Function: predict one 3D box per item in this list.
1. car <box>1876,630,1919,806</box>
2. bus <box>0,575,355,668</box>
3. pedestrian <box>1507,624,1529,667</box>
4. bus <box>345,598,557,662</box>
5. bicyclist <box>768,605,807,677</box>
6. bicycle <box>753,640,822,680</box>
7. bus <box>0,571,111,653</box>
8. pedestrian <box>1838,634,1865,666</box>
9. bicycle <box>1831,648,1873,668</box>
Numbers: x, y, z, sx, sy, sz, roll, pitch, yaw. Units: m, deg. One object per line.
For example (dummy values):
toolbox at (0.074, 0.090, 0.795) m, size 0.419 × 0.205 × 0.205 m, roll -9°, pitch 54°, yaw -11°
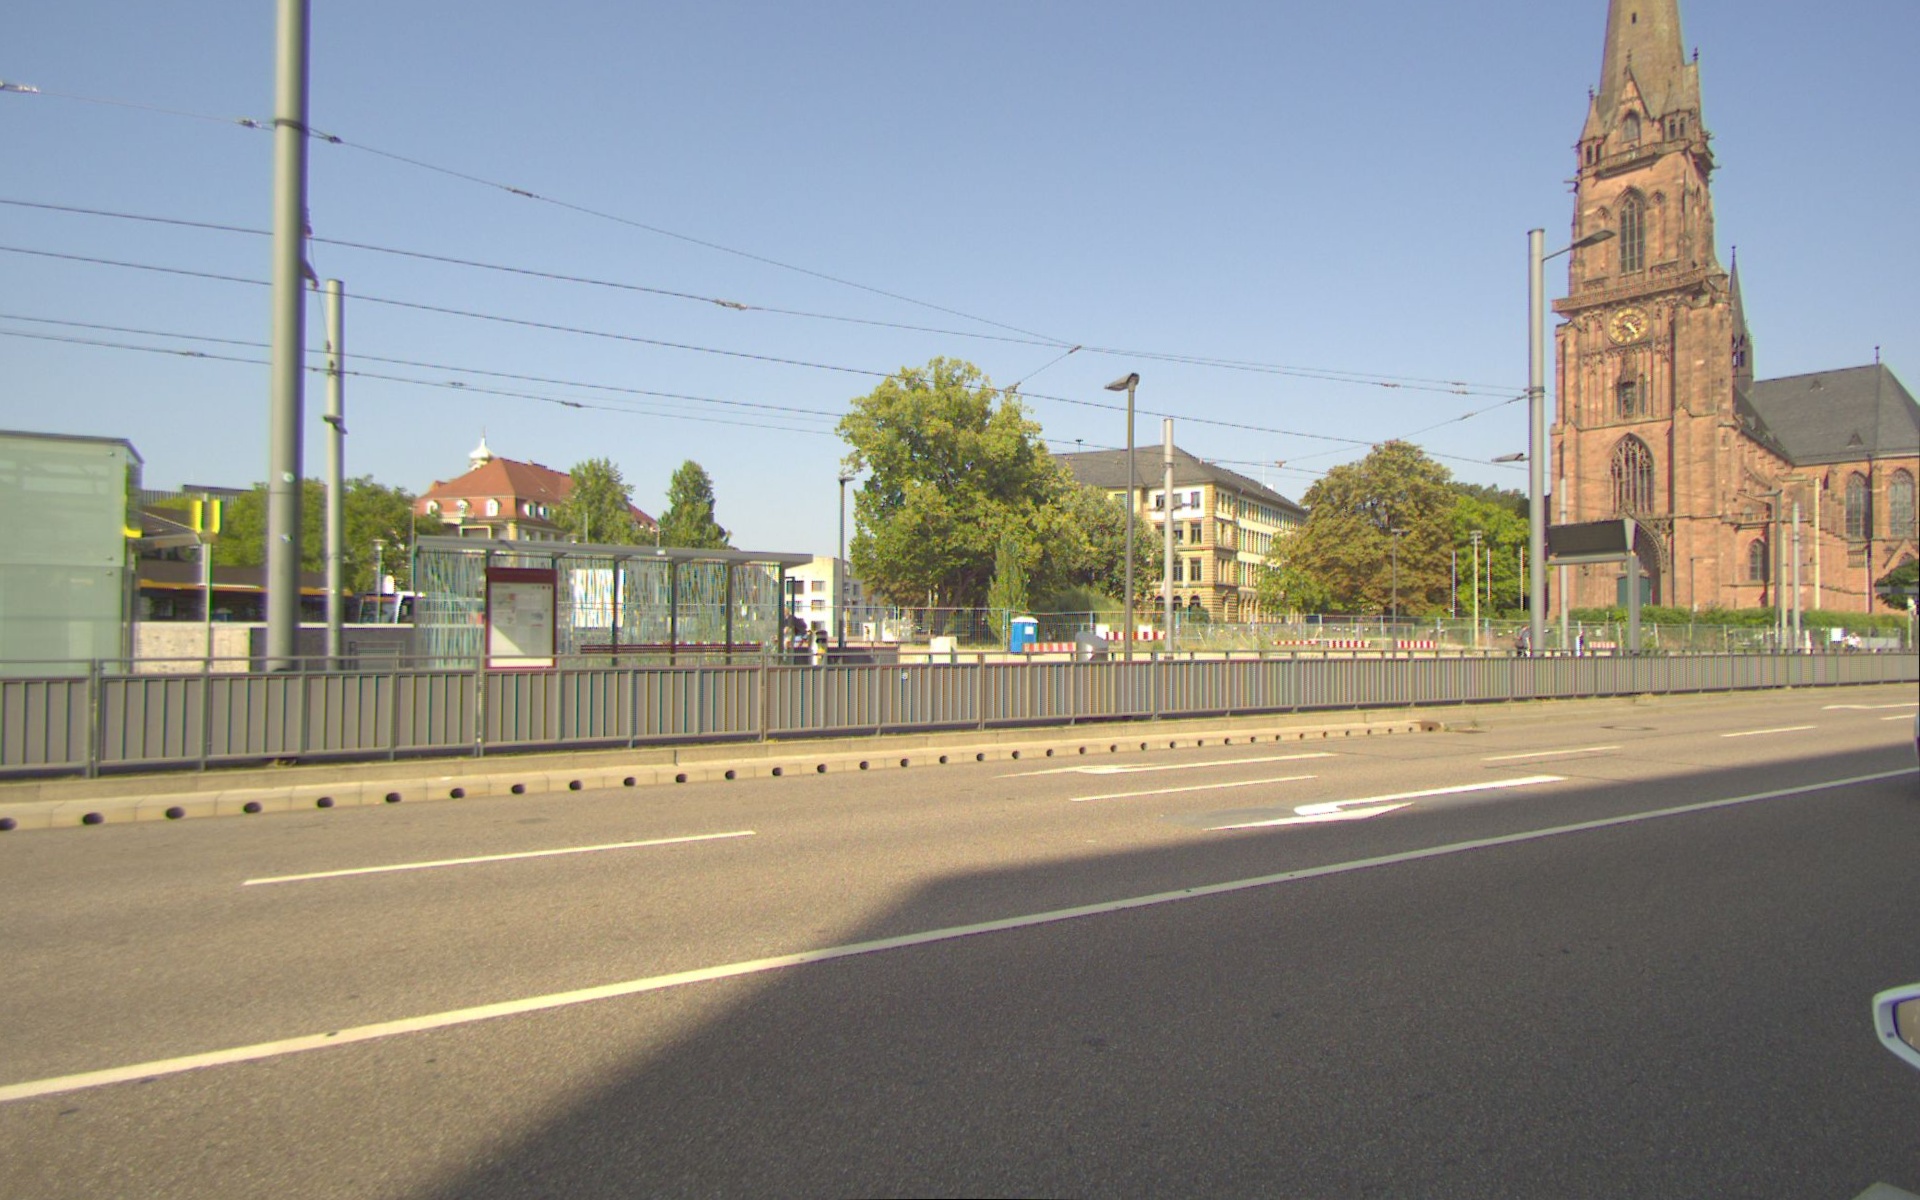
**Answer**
car at (10.317, 1.029, 8.933) m, size 4.716 × 1.446 × 1.801 m, roll 1°, pitch 1°, yaw -29°
bus at (-31.646, 0.940, 41.419) m, size 3.160 × 3.220 × 13.326 m, roll 0°, pitch -2°, yaw 12°
pedestrian at (22.743, 1.861, 40.947) m, size 0.657 × 1.723 × 0.514 m, roll 1°, pitch -1°, yaw -31°
bus at (-28.387, 1.723, 57.317) m, size 3.159 × 3.220 × 13.326 m, roll 0°, pitch -2°, yaw 12°
bicyclist at (-4.268, 1.010, 24.858) m, size 0.809 × 1.770 × 0.484 m, roll 1°, pitch -2°, yaw -30°
bicycle at (-4.266, 1.479, 24.955) m, size 1.675 × 0.966 × 0.348 m, roll 1°, pitch -2°, yaw -30°
bus at (-42.751, 0.460, 40.739) m, size 3.160 × 3.464 × 13.325 m, roll 0°, pitch -2°, yaw 14°
pedestrian at (48.460, 2.728, 54.627) m, size 0.591 × 1.701 × 0.918 m, roll 0°, pitch -1°, yaw -11°
bicycle at (48.468, 3.145, 54.592) m, size 0.471 × 0.991 × 1.761 m, roll 1°, pitch -2°, yaw -10°
